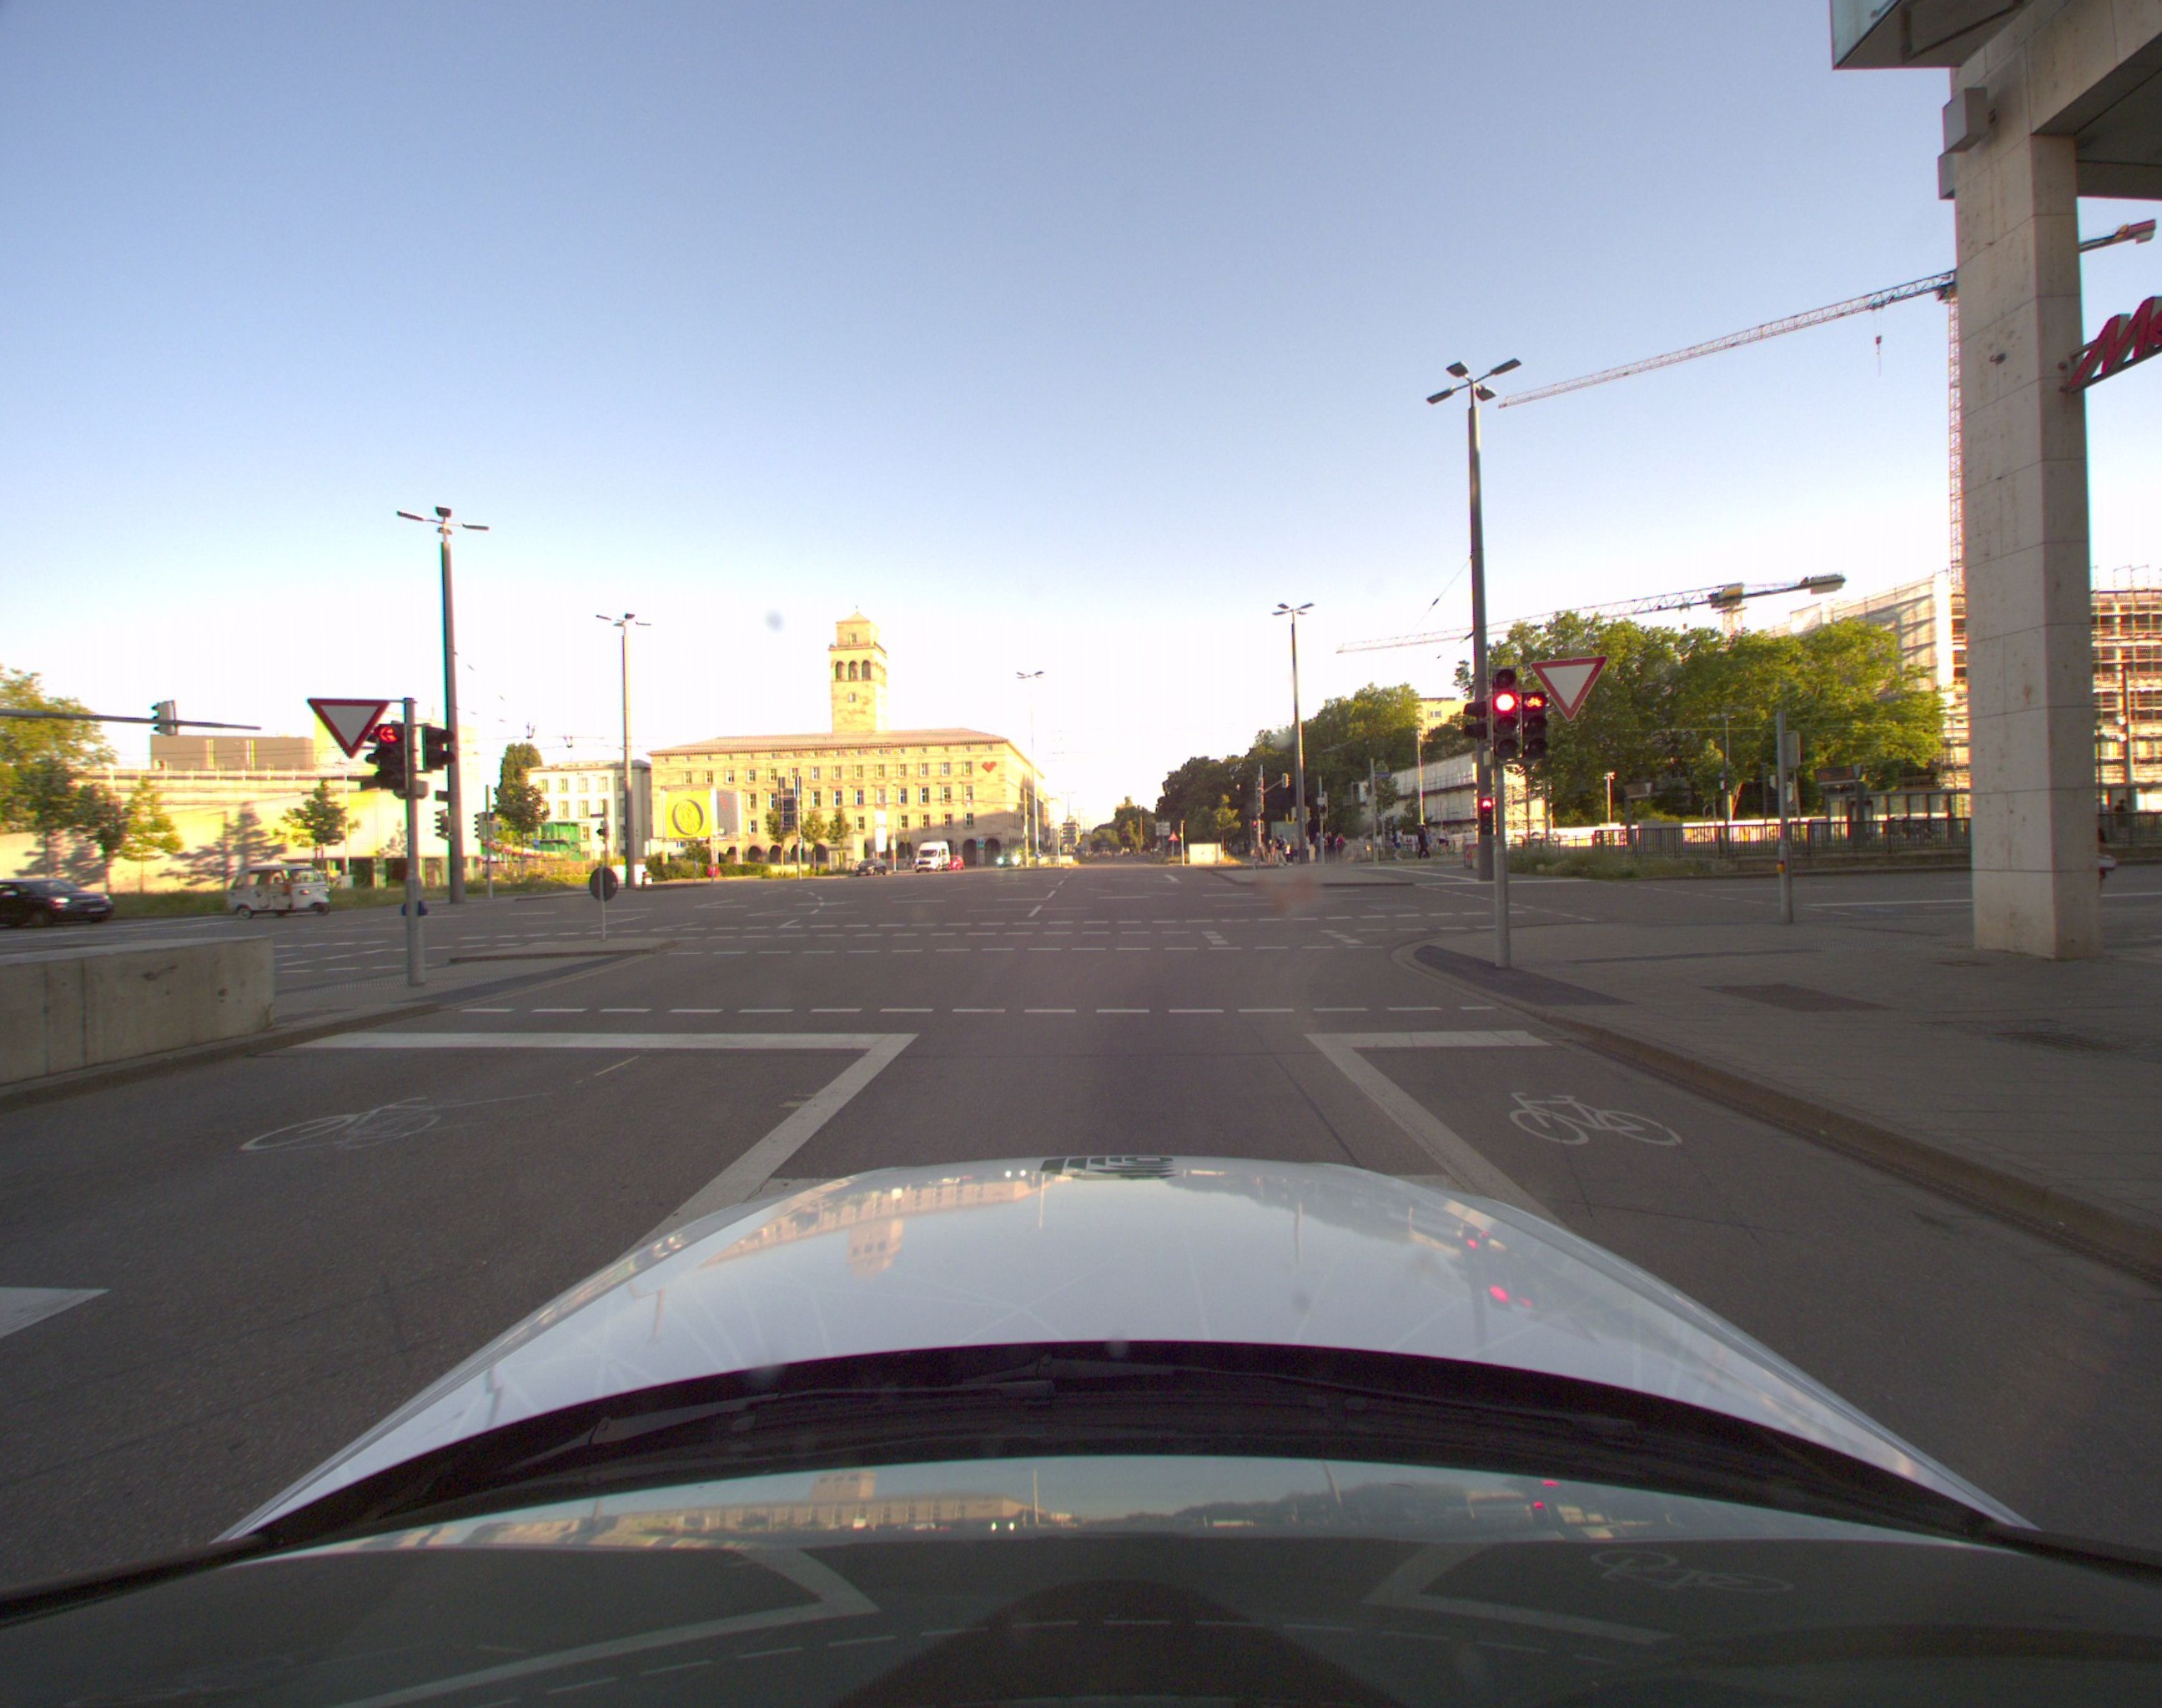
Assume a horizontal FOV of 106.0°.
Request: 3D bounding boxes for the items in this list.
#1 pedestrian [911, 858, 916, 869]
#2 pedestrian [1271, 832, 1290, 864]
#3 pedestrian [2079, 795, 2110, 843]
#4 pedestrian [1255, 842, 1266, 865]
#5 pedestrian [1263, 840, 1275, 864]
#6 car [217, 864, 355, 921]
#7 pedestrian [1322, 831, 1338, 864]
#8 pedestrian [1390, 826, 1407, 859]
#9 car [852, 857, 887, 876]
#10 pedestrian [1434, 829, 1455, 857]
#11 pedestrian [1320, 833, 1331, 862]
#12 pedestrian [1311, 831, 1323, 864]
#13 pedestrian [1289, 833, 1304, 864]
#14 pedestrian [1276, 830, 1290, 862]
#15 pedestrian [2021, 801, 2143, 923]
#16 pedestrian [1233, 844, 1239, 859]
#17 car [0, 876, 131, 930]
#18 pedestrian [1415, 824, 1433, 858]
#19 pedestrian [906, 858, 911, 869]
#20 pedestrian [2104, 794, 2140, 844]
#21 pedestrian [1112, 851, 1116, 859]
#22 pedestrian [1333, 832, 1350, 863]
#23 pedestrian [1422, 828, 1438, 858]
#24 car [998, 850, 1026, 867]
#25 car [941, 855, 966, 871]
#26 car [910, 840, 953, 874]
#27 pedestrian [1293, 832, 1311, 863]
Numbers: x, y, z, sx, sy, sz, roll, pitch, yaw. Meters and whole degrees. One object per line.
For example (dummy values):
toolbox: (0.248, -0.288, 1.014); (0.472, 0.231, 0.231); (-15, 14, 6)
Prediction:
pedestrian: (-19.988, 1.101, 97.065); (0.504, 1.300, 0.700); (0, -1, -3)
pedestrian: (10.845, -0.315, 44.309); (0.905, 1.725, 0.716); (-2, 1, 16)
pedestrian: (42.550, -1.462, 34.197); (0.573, 2.013, 0.568); (-2, 0, -2)
pedestrian: (13.377, -0.066, 60.664); (0.555, 1.654, 0.907); (-2, 1, 22)
pedestrian: (13.961, -0.174, 60.423); (0.673, 1.757, 0.907); (-2, 1, 22)
car: (-26.728, 1.264, 27.453); (2.962, 1.696, 1.484); (-2, 0, -8)
pedestrian: (13.926, -0.371, 45.506); (0.799, 1.791, 0.804); (-2, 1, 16)
pedestrian: (16.974, -0.629, 43.540); (0.663, 1.725, 0.714); (-2, 0, 5)
car: (-18.373, 1.062, 70.925); (1.817, 1.466, 4.158); (-2, 1, 0)
pedestrian: (19.274, -0.600, 43.159); (0.712, 1.441, 0.676); (-2, 0, -10)
pedestrian: (14.135, -0.374, 47.041); (0.568, 1.678, 0.641); (-2, 1, 16)
pedestrian: (13.198, -0.364, 45.533); (0.568, 1.791, 0.641); (-2, 1, 16)
pedestrian: (12.020, -0.315, 45.416); (0.705, 1.725, 0.671); (-2, 1, 15)
pedestrian: (11.325, -0.457, 45.645); (0.706, 1.725, 0.671); (-2, 1, 14)
pedestrian: (14.028, 0.104, 11.432); (0.787, 1.638, 0.709); (-2, 0, 4)
pedestrian: (18.129, -0.301, 95.409); (0.638, 1.760, 0.526); (-2, 1, 10)
car: (-35.032, 1.652, 27.250); (4.113, 1.604, 1.742); (-2, 0, -4)
pedestrian: (17.882, -0.692, 42.499); (0.662, 1.725, 0.714); (-2, 0, 7)
pedestrian: (-20.635, 1.107, 97.287); (0.473, 1.300, 0.463); (0, -1, -4)
pedestrian: (42.747, -1.422, 33.445); (0.623, 2.013, 0.642); (-2, 0, -2)
pedestrian: (7.927, 0.231, 194.780); (0.903, 1.671, 1.307); (-2, 1, 1)
pedestrian: (14.670, -0.374, 45.863); (0.838, 1.734, 0.708); (-2, 1, 14)
pedestrian: (19.085, -0.588, 44.528); (0.569, 1.592, 0.537); (-2, 0, 1)
car: (-6.172, 0.388, 72.959); (1.815, 1.341, 4.005); (-2, 1, 4)
car: (-12.760, 0.872, 81.670); (1.732, 1.487, 4.002); (-2, 1, 2)
car: (-13.292, 0.228, 72.981); (2.269, 2.776, 6.090); (-2, 0, 4)
pedestrian: (12.634, -0.398, 46.531); (0.906, 1.725, 0.715); (-2, 1, 10)
